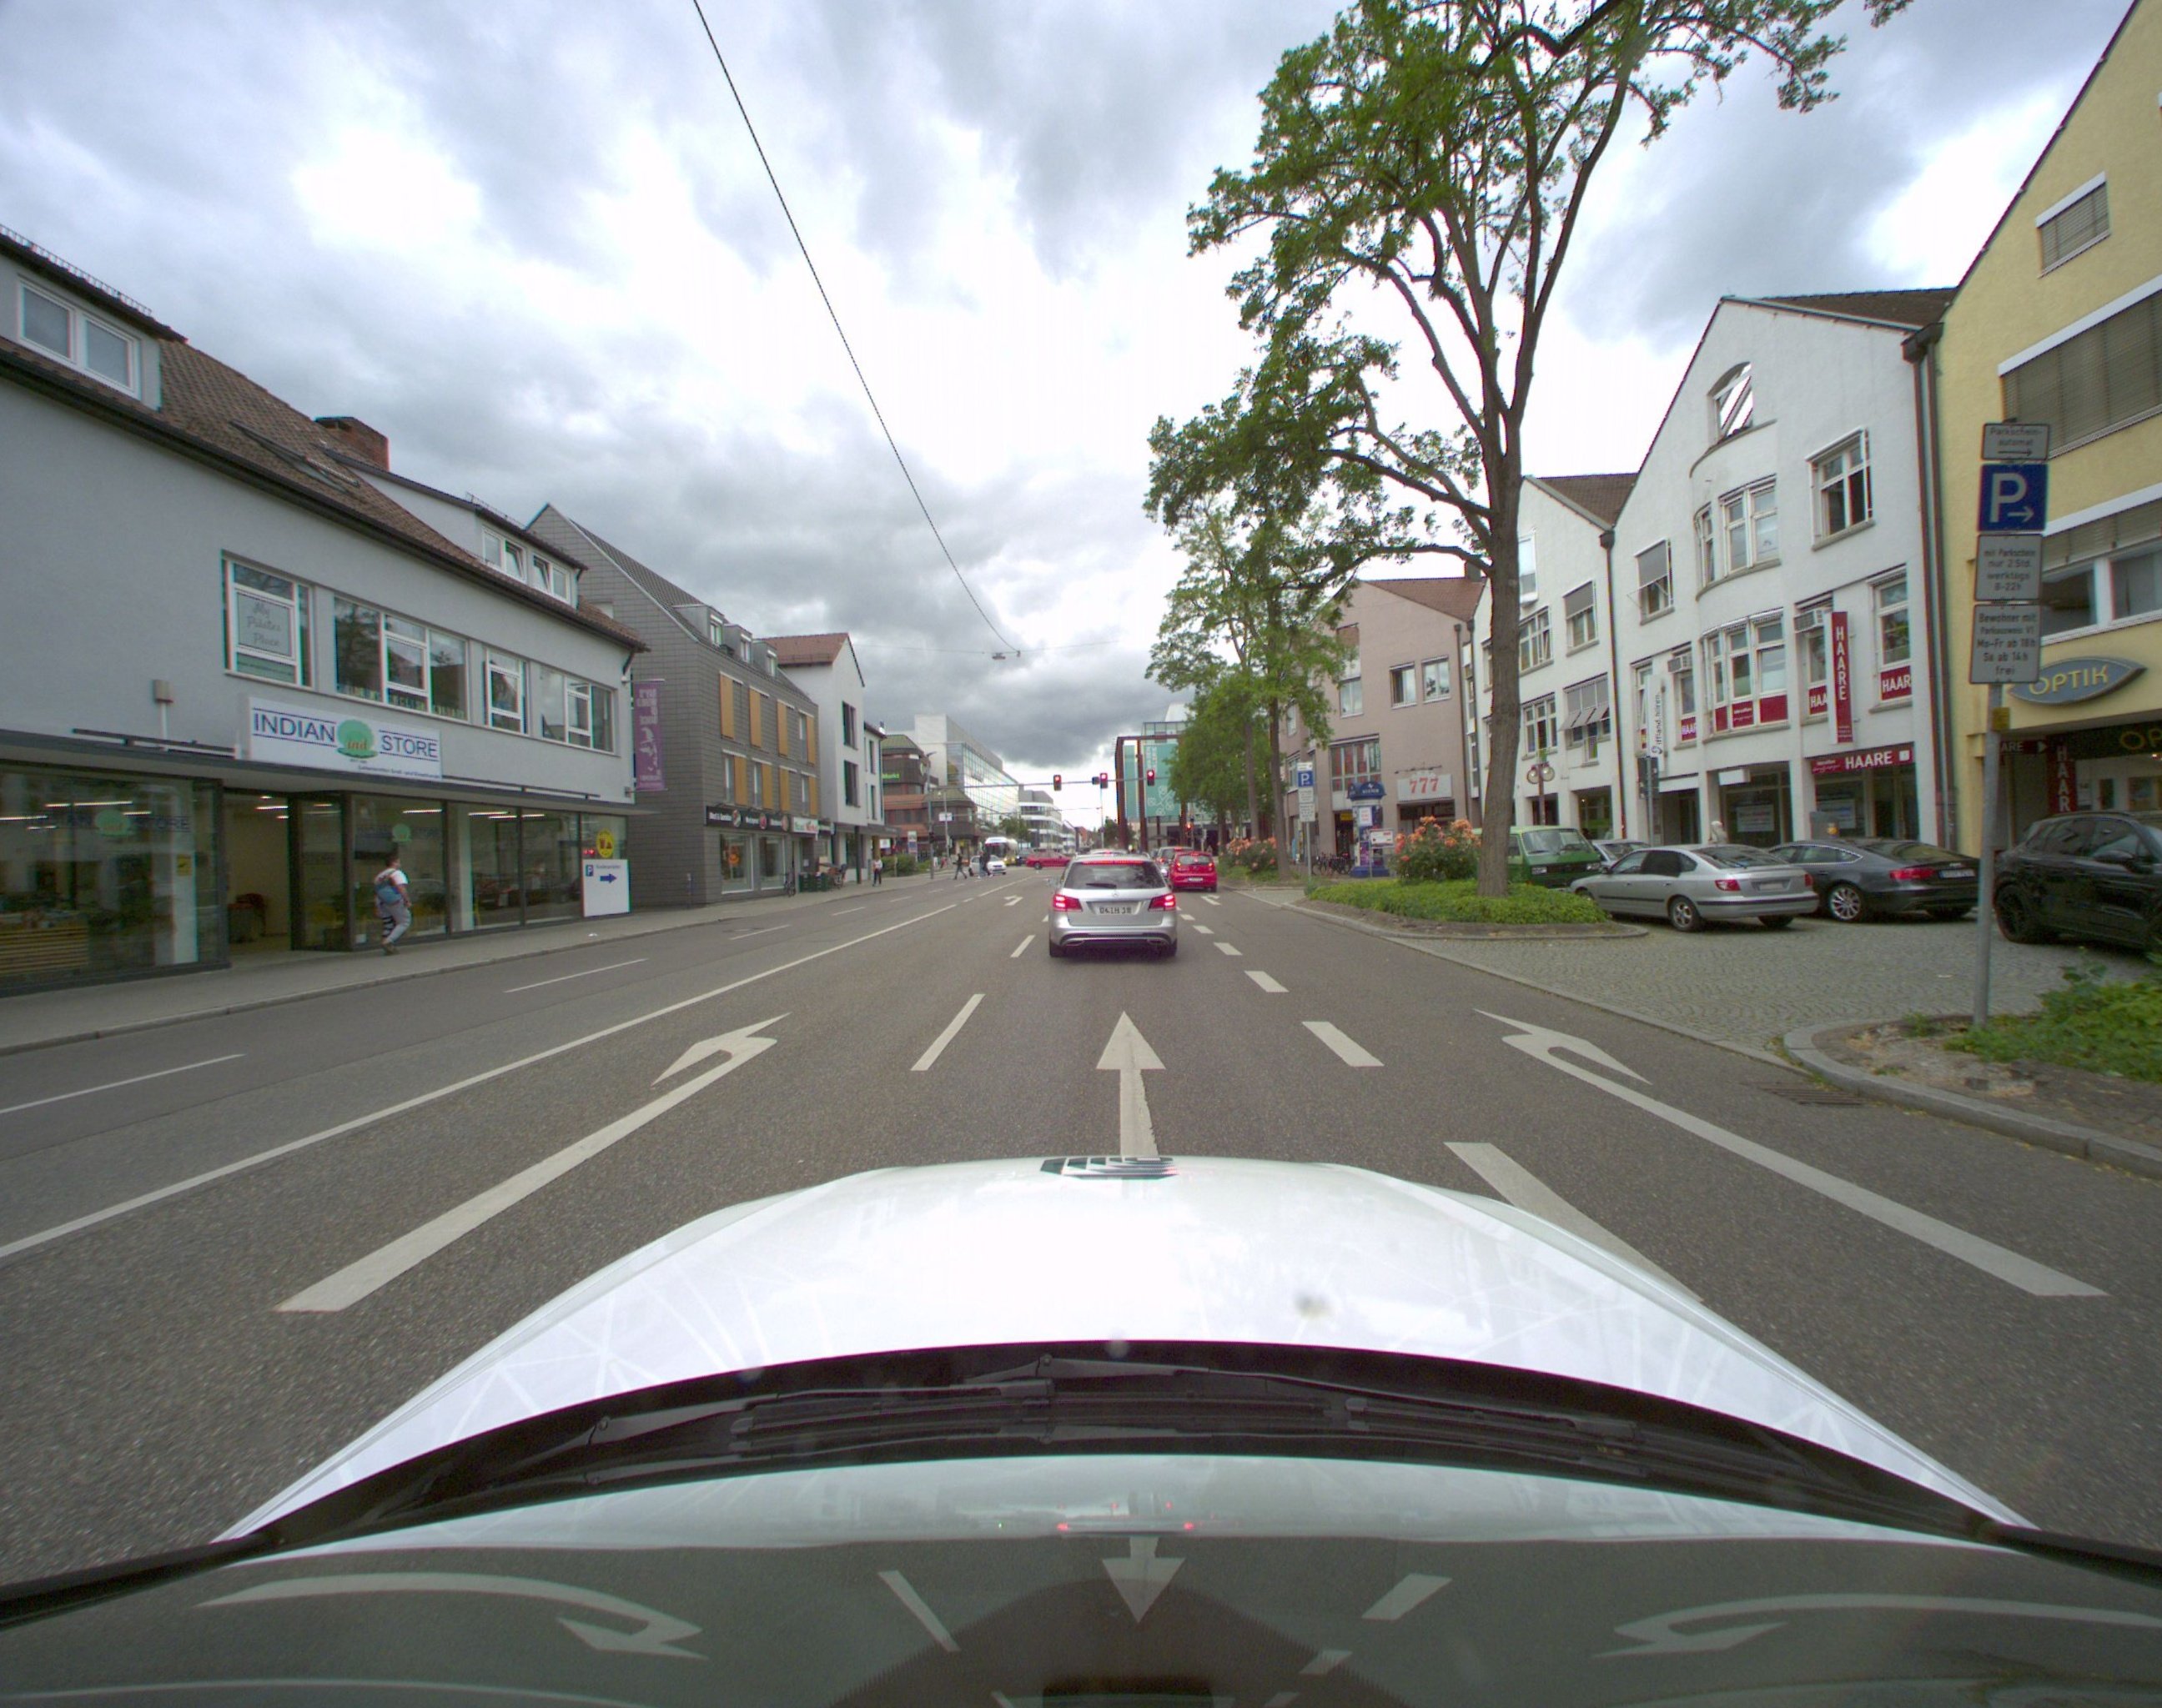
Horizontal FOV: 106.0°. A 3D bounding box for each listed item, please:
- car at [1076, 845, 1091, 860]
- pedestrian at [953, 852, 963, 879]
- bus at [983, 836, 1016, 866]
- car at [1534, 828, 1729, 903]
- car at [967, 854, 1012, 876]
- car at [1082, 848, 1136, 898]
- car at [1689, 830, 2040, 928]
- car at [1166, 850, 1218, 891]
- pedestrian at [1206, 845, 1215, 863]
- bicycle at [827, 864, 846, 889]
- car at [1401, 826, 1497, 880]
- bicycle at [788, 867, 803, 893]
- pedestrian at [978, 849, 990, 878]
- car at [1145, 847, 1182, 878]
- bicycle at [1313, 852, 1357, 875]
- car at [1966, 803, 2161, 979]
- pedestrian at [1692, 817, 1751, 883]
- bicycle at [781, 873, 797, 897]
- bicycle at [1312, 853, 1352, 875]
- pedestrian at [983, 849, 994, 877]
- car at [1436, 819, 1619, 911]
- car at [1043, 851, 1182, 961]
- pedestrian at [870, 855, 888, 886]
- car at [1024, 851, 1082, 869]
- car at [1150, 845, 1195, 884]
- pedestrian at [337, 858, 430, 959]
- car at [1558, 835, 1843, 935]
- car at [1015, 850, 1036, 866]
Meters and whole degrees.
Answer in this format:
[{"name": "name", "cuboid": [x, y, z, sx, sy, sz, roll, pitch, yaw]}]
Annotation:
[{"name": "car", "cuboid": [0.360, -0.151, 111.887, 1.987, 1.949, 4.951, -2, 0, 1]}, {"name": "pedestrian", "cuboid": [-7.795, 0.740, 51.703, 0.558, 1.650, 0.651, -2, 0, -12]}, {"name": "bus", "cuboid": [-9.316, -0.358, 93.976, 2.677, 3.261, 8.654, -2, 0, 1]}, {"name": "car", "cuboid": [13.340, 0.245, 20.124, 1.790, 1.542, 4.394, -3, 0, 0]}, {"name": "car", "cuboid": [-6.577, 0.794, 58.316, 1.586, 1.488, 3.425, -3, 0, -37]}, {"name": "car", "cuboid": [0.928, 0.582, 26.675, 1.634, 1.527, 3.395, -1, 0, 2]}, {"name": "car", "cuboid": [13.534, 0.376, 14.562, 1.991, 1.376, 4.418, -3, 0, 0]}, {"name": "car", "cuboid": [4.077, 0.586, 30.270, 1.580, 1.443, 3.350, 0, 0, 2]}, {"name": "pedestrian", "cuboid": [12.531, -0.007, 78.730, 0.652, 1.650, 0.557, -2, 0, -13]}, {"name": "bicycle", "cuboid": [-12.104, 1.113, 40.404, 0.385, 1.186, 1.825, -2, 0, -1]}, {"name": "car", "cuboid": [13.815, -0.032, 30.829, 1.633, 1.831, 3.964, -3, 0, -2]}, {"name": "bicycle", "cuboid": [-13.182, 1.199, 37.592, 0.386, 1.127, 1.286, -2, 0, -8]}, {"name": "pedestrian", "cuboid": [-6.155, 0.583, 51.767, 0.646, 1.790, 0.682, -2, 0, -9]}, {"name": "car", "cuboid": [4.303, 0.421, 42.807, 1.581, 1.595, 3.868, 0, 0, 0]}, {"name": "bicycle", "cuboid": [11.847, 0.455, 38.007, 1.891, 0.997, 0.468, -2, 0, 6]}, {"name": "car", "cuboid": [12.066, 0.283, 8.913, 1.835, 1.670, 4.693, -3, 0, 30]}, {"name": "pedestrian", "cuboid": [16.678, -0.103, 21.227, 0.786, 1.659, 0.819, -4, 0, 1]}, {"name": "bicycle", "cuboid": [-12.005, 1.263, 33.541, 0.325, 0.954, 1.479, -2, 0, -9]}, {"name": "bicycle", "cuboid": [11.876, 0.473, 38.553, 1.760, 0.997, 0.447, -2, 0, 6]}, {"name": "pedestrian", "cuboid": [-5.993, 0.568, 52.815, 0.644, 1.775, 0.569, -2, 0, -9]}, {"name": "car", "cuboid": [10.683, 0.226, 19.949, 1.874, 1.876, 4.605, -3, 0, 0]}, {"name": "car", "cuboid": [0.497, 0.681, 12.857, 1.808, 1.448, 4.372, 0, 0, 2]}, {"name": "pedestrian", "cuboid": [-10.870, 0.892, 43.781, 0.725, 1.610, 0.753, -2, 0, 2]}, {"name": "car", "cuboid": [-2.348, 0.527, 68.949, 4.695, 1.369, 1.965, -2, 0, 3]}, {"name": "car", "cuboid": [4.020, 0.446, 36.350, 1.581, 1.634, 3.916, 0, 0, 0]}, {"name": "pedestrian", "cuboid": [-12.272, 0.932, 14.366, 0.751, 1.705, 0.981, 1, 0, 1]}, {"name": "car", "cuboid": [10.784, 0.466, 14.676, 1.757, 1.450, 4.419, -2, 0, 0]}, {"name": "car", "cuboid": [-6.186, 0.453, 91.170, 1.987, 1.706, 4.065, -2, 0, 1]}]
